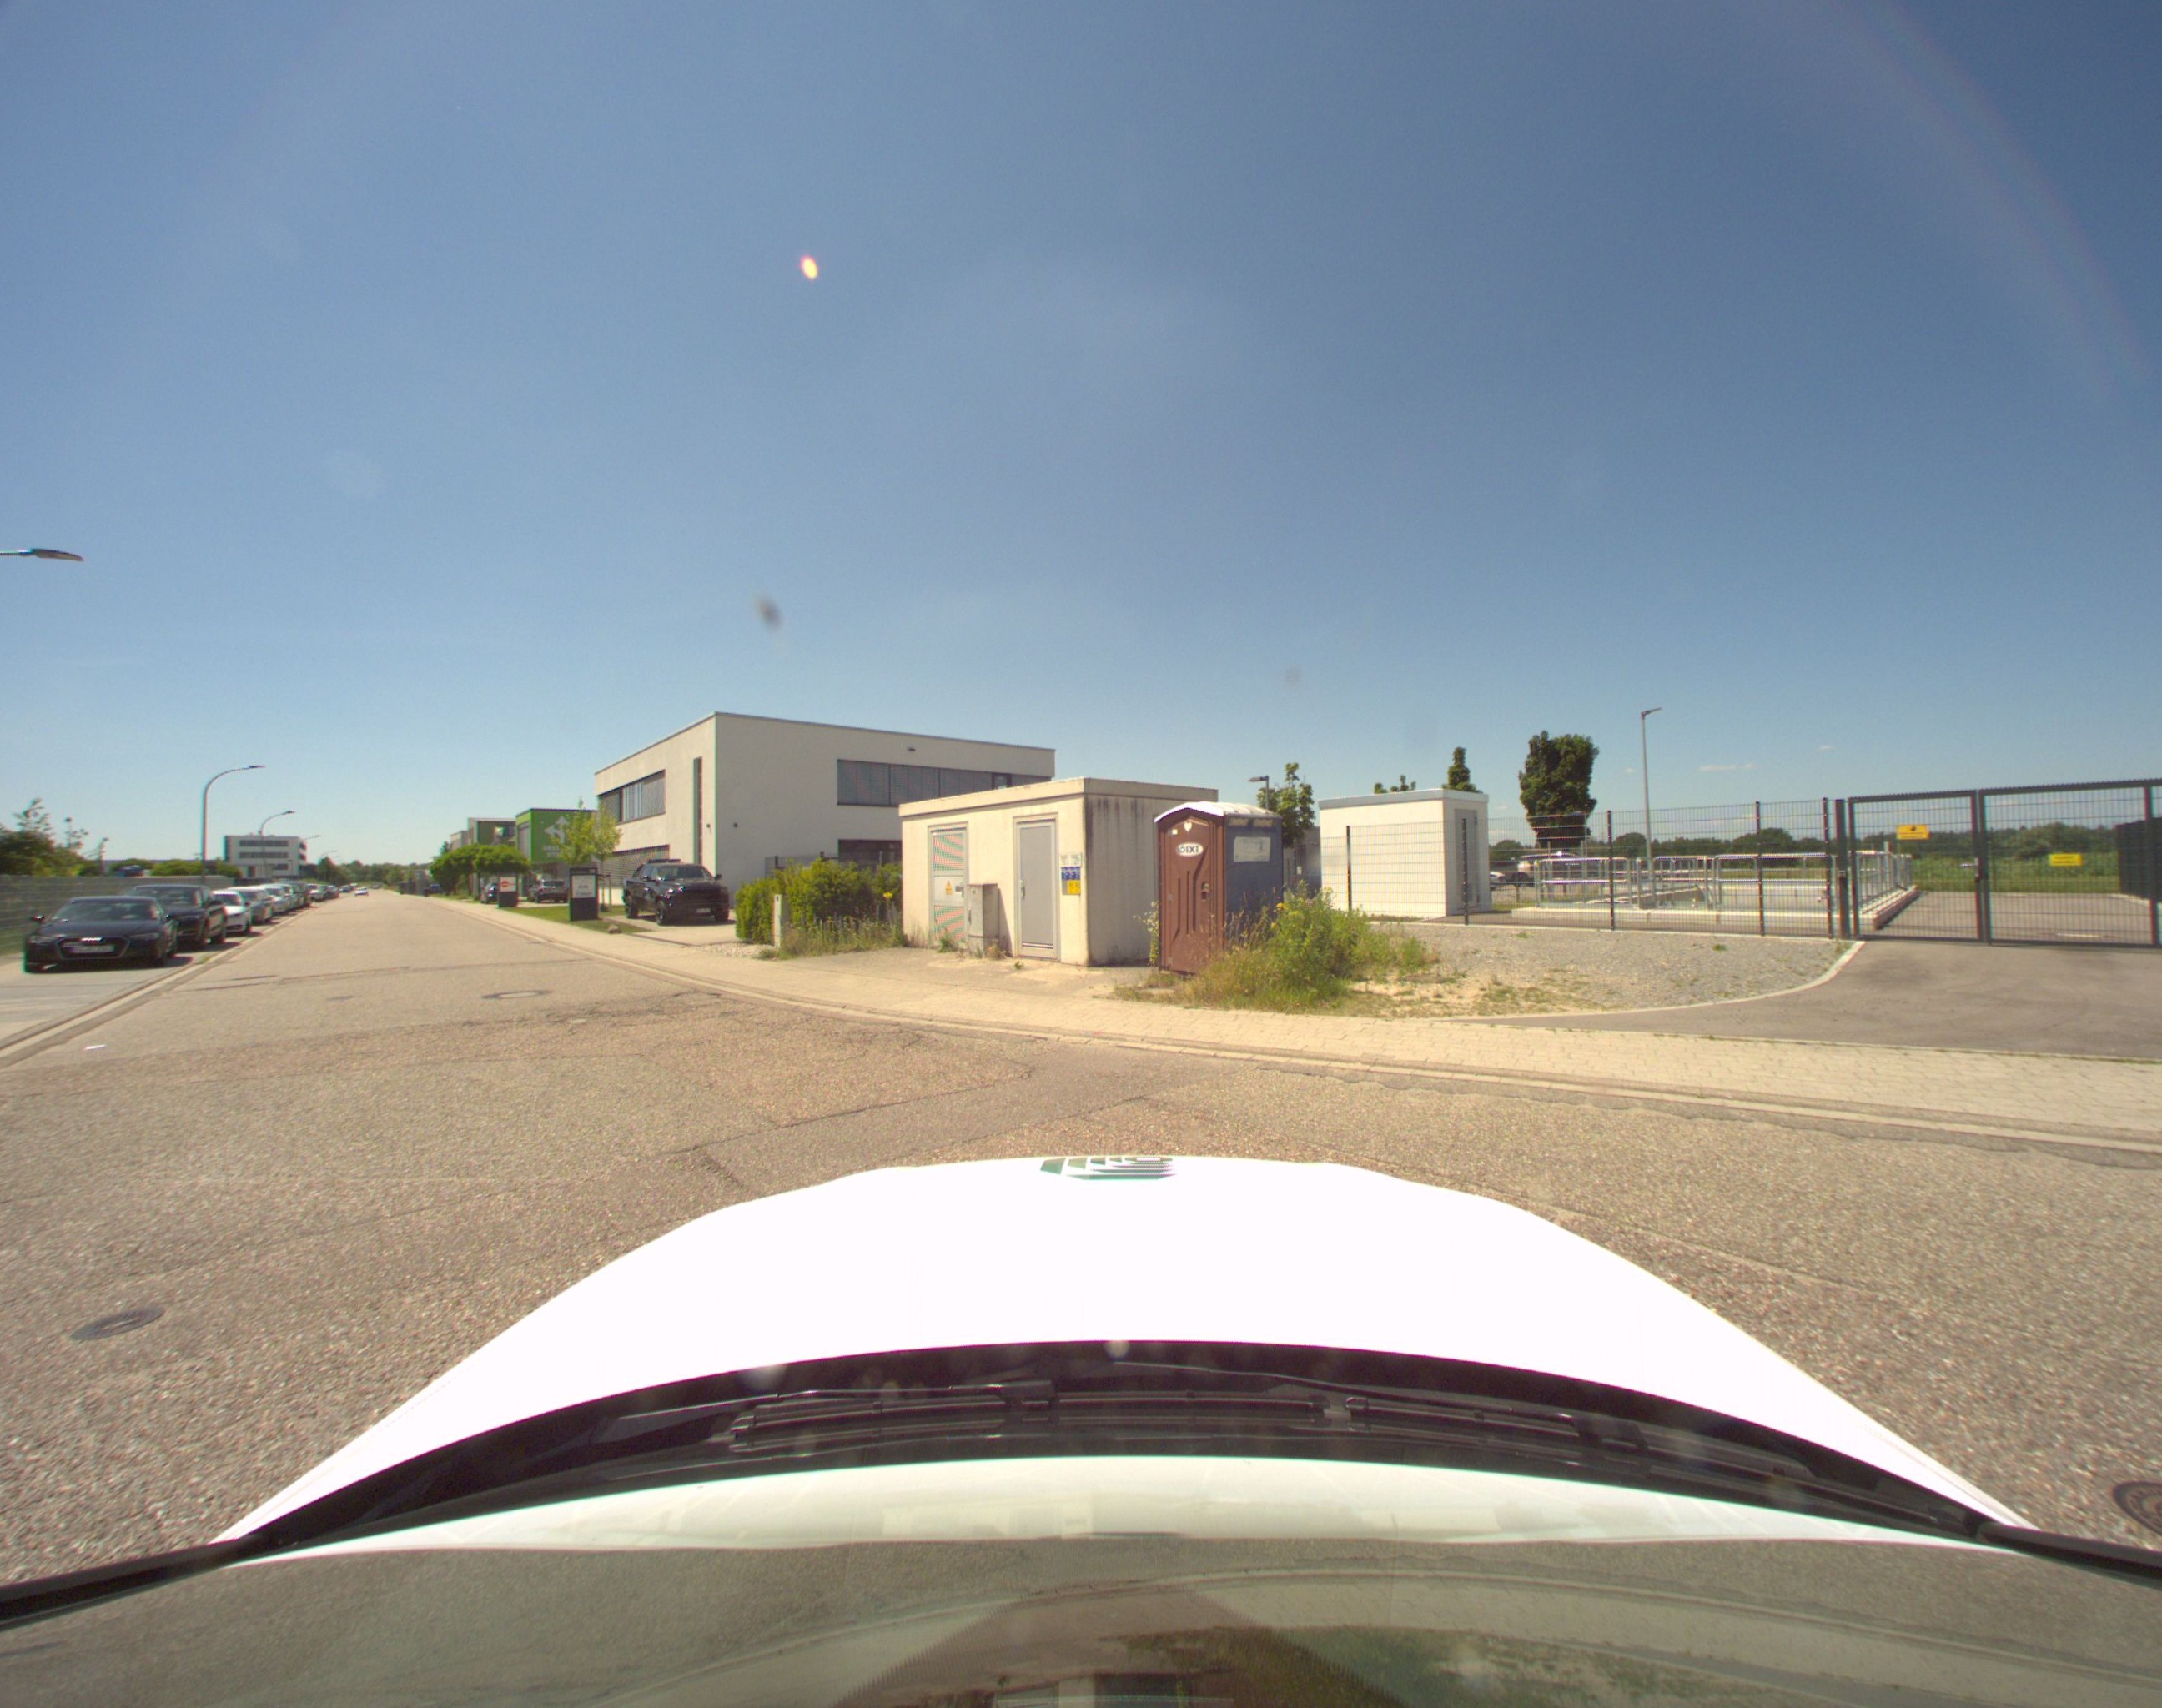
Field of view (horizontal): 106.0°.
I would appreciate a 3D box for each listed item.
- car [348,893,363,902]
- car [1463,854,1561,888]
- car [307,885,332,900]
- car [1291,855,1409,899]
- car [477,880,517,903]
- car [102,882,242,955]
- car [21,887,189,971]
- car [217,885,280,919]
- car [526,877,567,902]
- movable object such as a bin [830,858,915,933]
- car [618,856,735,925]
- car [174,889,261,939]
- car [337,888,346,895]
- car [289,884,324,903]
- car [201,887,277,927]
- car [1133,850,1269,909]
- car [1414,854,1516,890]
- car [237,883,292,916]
[{"bbox_3d":[-127.573,7.648,143.155,1.719,1.411,4.724,1,-2,-45],"label":"car"},{"bbox_3d":[21.794,0.886,41.288,1.871,1.505,3.951,0,-4,-42],"label":"car"},{"bbox_3d":[-81.637,4.099,87.341,1.806,1.607,4.408,2,-3,-42],"label":"car"},{"bbox_3d":[10.496,0.929,31.993,1.871,1.505,3.951,0,-4,-42],"label":"car"},{"bbox_3d":[-38.260,2.459,53.307,1.707,1.428,4.195,1,-2,-41],"label":"car"},{"bbox_3d":[-24.120,1.621,21.791,1.784,1.651,4.793,1,-1,-40],"label":"car"},{"bbox_3d":[-20.337,1.474,17.151,1.785,1.466,4.134,1,-1,-44],"label":"car"},{"bbox_3d":[-38.027,2.157,37.291,1.718,1.444,4.385,2,-3,-42],"label":"car"},{"bbox_3d":[-36.101,2.391,54.984,1.738,1.633,3.974,1,-2,-42],"label":"car"},{"bbox_3d":[-4.531,0.872,17.722,1.395,1.523,1.156,-1,-1,-42],"label":"movable object such as a bin"},{"bbox_3d":[-13.817,1.128,27.637,2.011,2.013,5.730,-1,1,-43],"label":"car"},{"bbox_3d":[-27.638,1.860,26.168,1.714,1.386,3.889,1,-1,-44],"label":"car"},{"bbox_3d":[-167.161,8.436,184.130,1.479,1.490,3.169,0,-2,-41],"label":"car"},{"bbox_3d":[-64.650,3.278,68.040,1.802,1.542,4.313,1,-2,-40],"label":"car"},{"bbox_3d":[-33.669,2.061,32.679,1.698,1.386,4.584,1,-1,-41],"label":"car"},{"bbox_3d":[3.758,0.843,26.047,1.871,1.678,3.951,0,-4,-42],"label":"car"},{"bbox_3d":[18.289,0.892,38.913,1.871,1.505,3.951,0,-4,-42],"label":"car"},{"bbox_3d":[-41.273,2.257,41.244,1.718,1.536,4.516,2,-3,-42],"label":"car"}]
